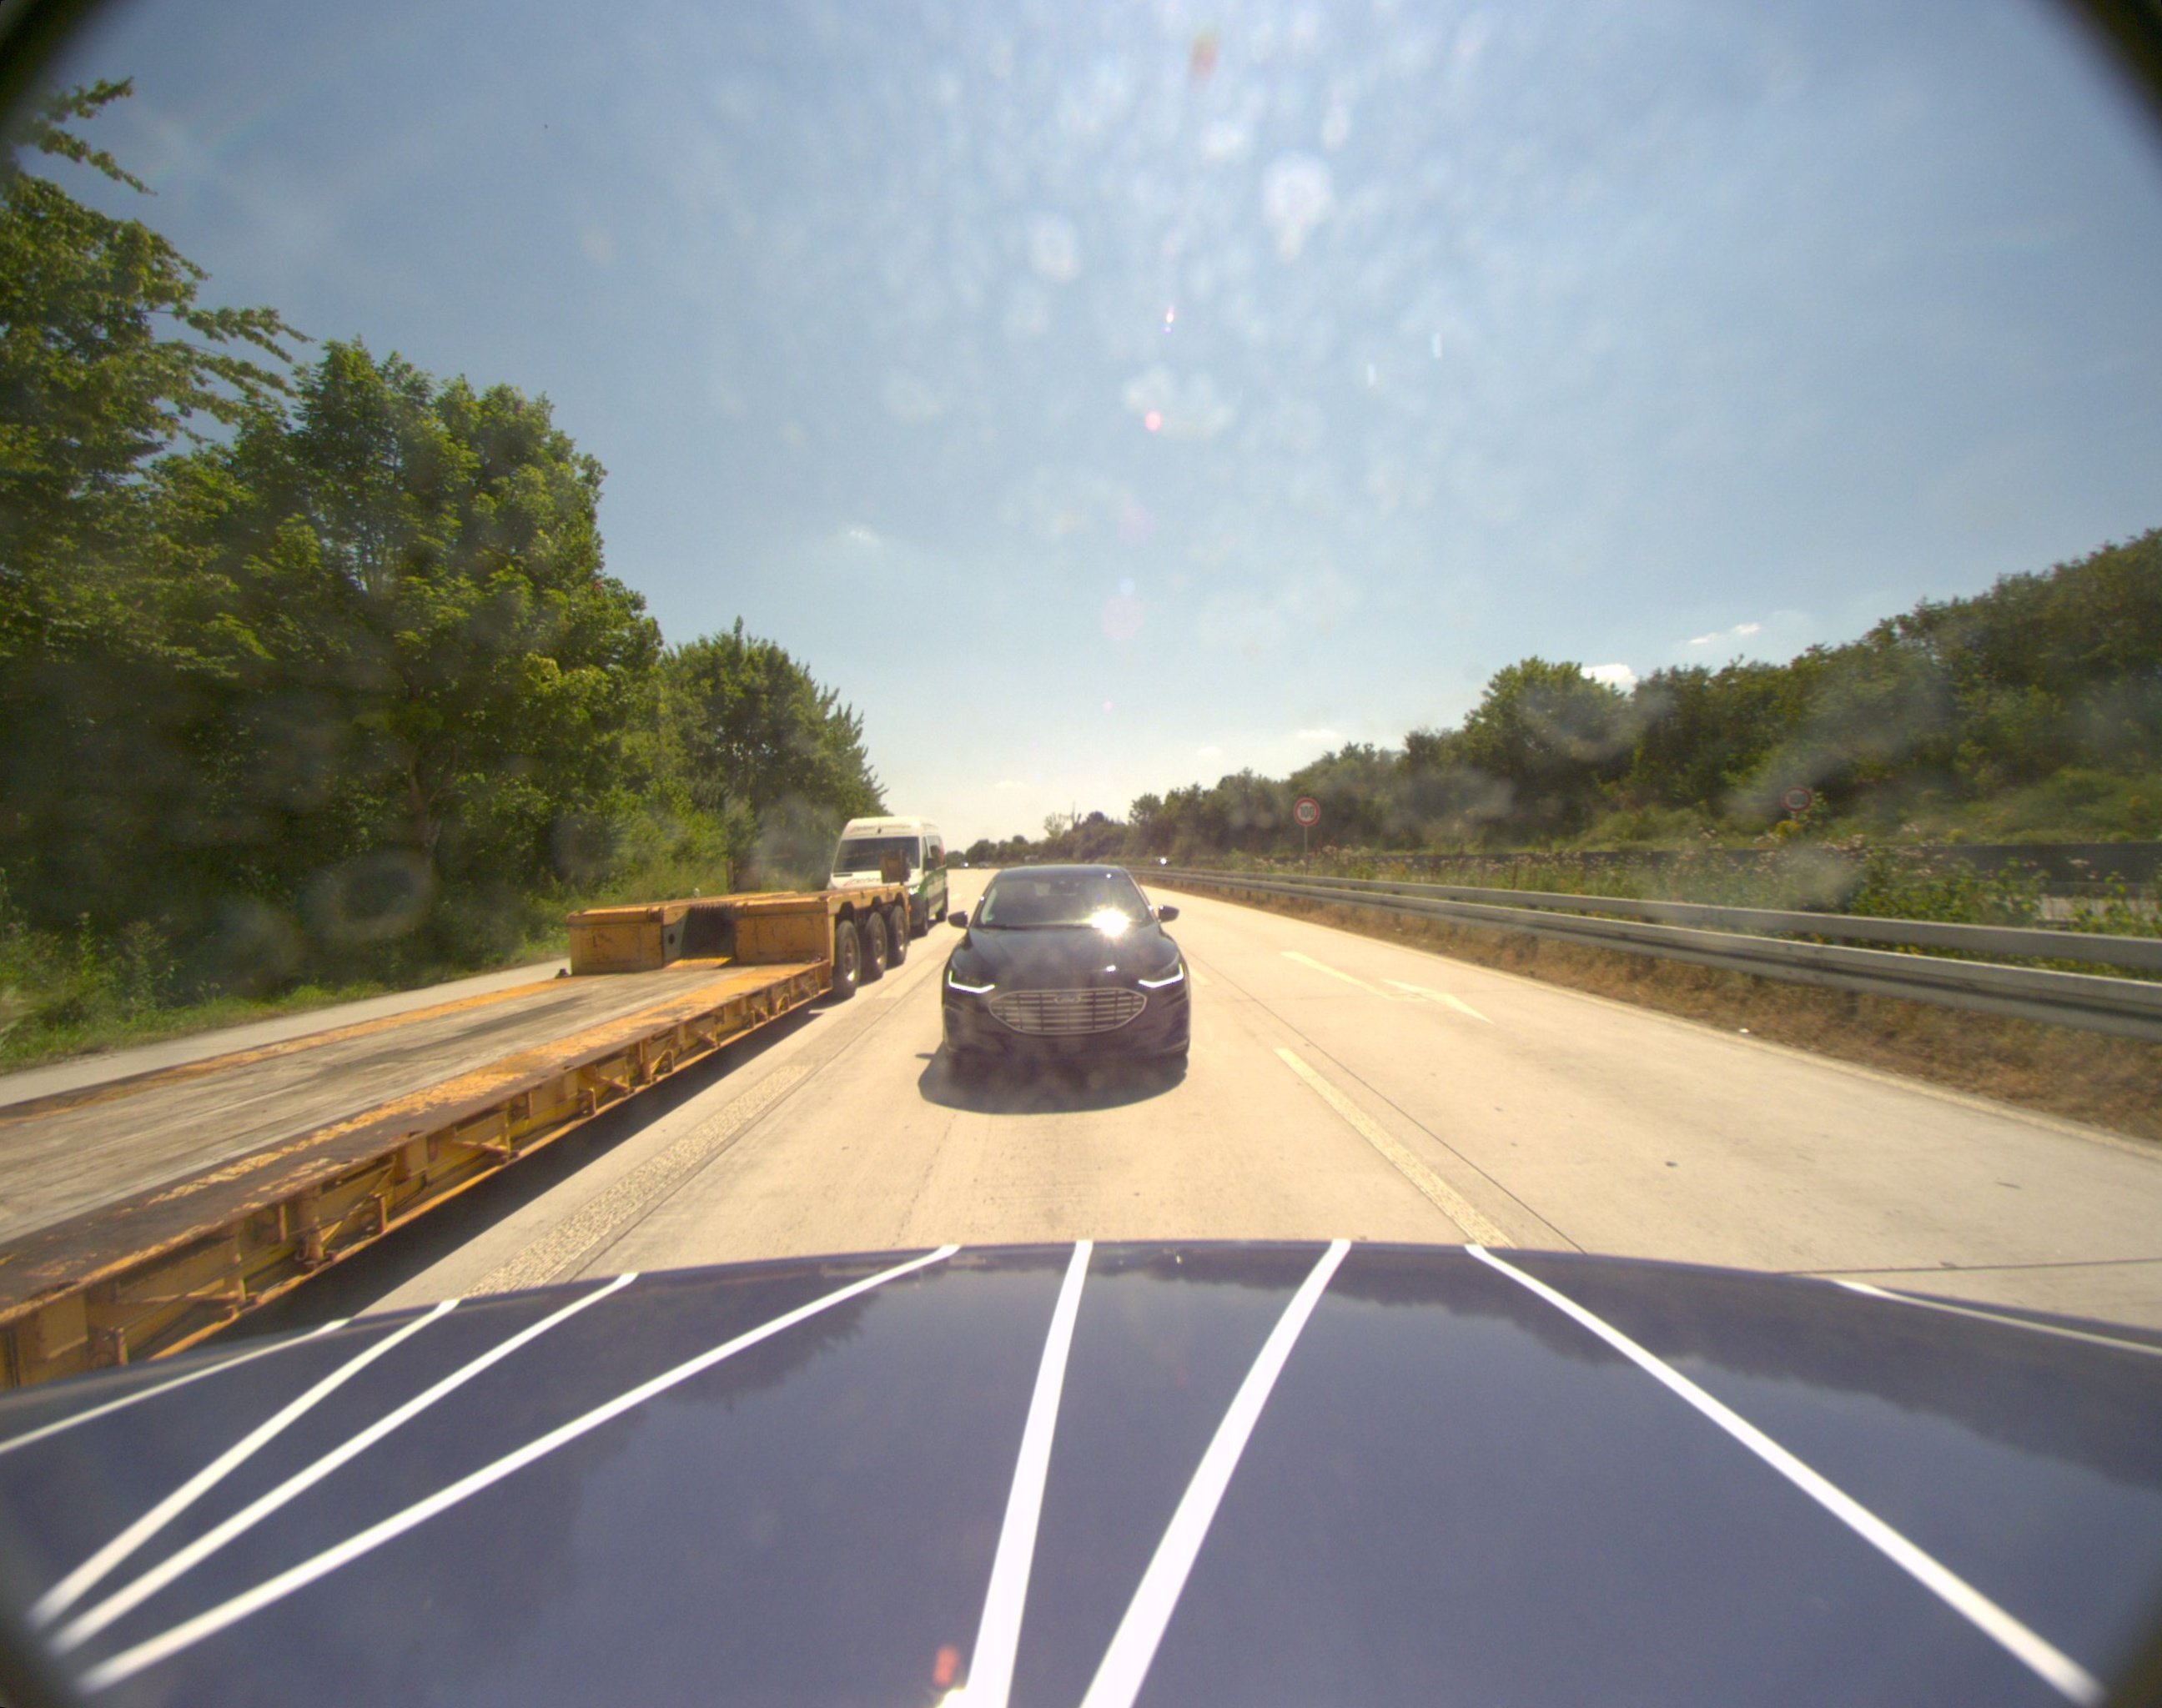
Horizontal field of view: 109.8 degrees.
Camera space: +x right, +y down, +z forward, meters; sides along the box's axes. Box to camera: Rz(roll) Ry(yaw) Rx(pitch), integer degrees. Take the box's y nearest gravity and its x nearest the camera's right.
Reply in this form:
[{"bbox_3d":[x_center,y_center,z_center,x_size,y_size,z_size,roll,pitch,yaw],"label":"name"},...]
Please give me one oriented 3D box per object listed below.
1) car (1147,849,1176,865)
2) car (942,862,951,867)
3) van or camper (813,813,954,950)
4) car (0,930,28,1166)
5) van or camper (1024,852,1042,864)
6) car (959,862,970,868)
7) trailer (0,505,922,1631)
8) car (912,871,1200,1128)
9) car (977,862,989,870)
[{"bbox_3d":[7.933,0.301,75.176,1.878,1.438,4.600,-2,1,-7],"label":"car"},{"bbox_3d":[-36.907,2.888,208.350,1.893,1.456,3.993,-3,1,-19],"label":"car"},{"bbox_3d":[-4.293,0.496,17.578,2.069,2.559,5.904,-2,1,-5],"label":"van or camper"},{"bbox_3d":[-7.568,1.256,2.503,1.772,1.453,4.597,-2,1,-1],"label":"car"},{"bbox_3d":[-9.007,0.760,141.969,2.180,2.002,5.631,-2,1,-15],"label":"van or camper"},{"bbox_3d":[-28.697,2.626,186.719,1.709,1.456,3.992,-3,1,-22],"label":"car"},{"bbox_3d":[-4.025,0.523,3.827,3.035,2.578,16.355,-2,0,0],"label":"trailer"},{"bbox_3d":[-0.123,0.949,6.857,1.731,1.430,4.304,-2,0,1],"label":"car"},{"bbox_3d":[-19.480,2.313,150.898,1.629,1.476,3.993,-3,1,-18],"label":"car"}]
